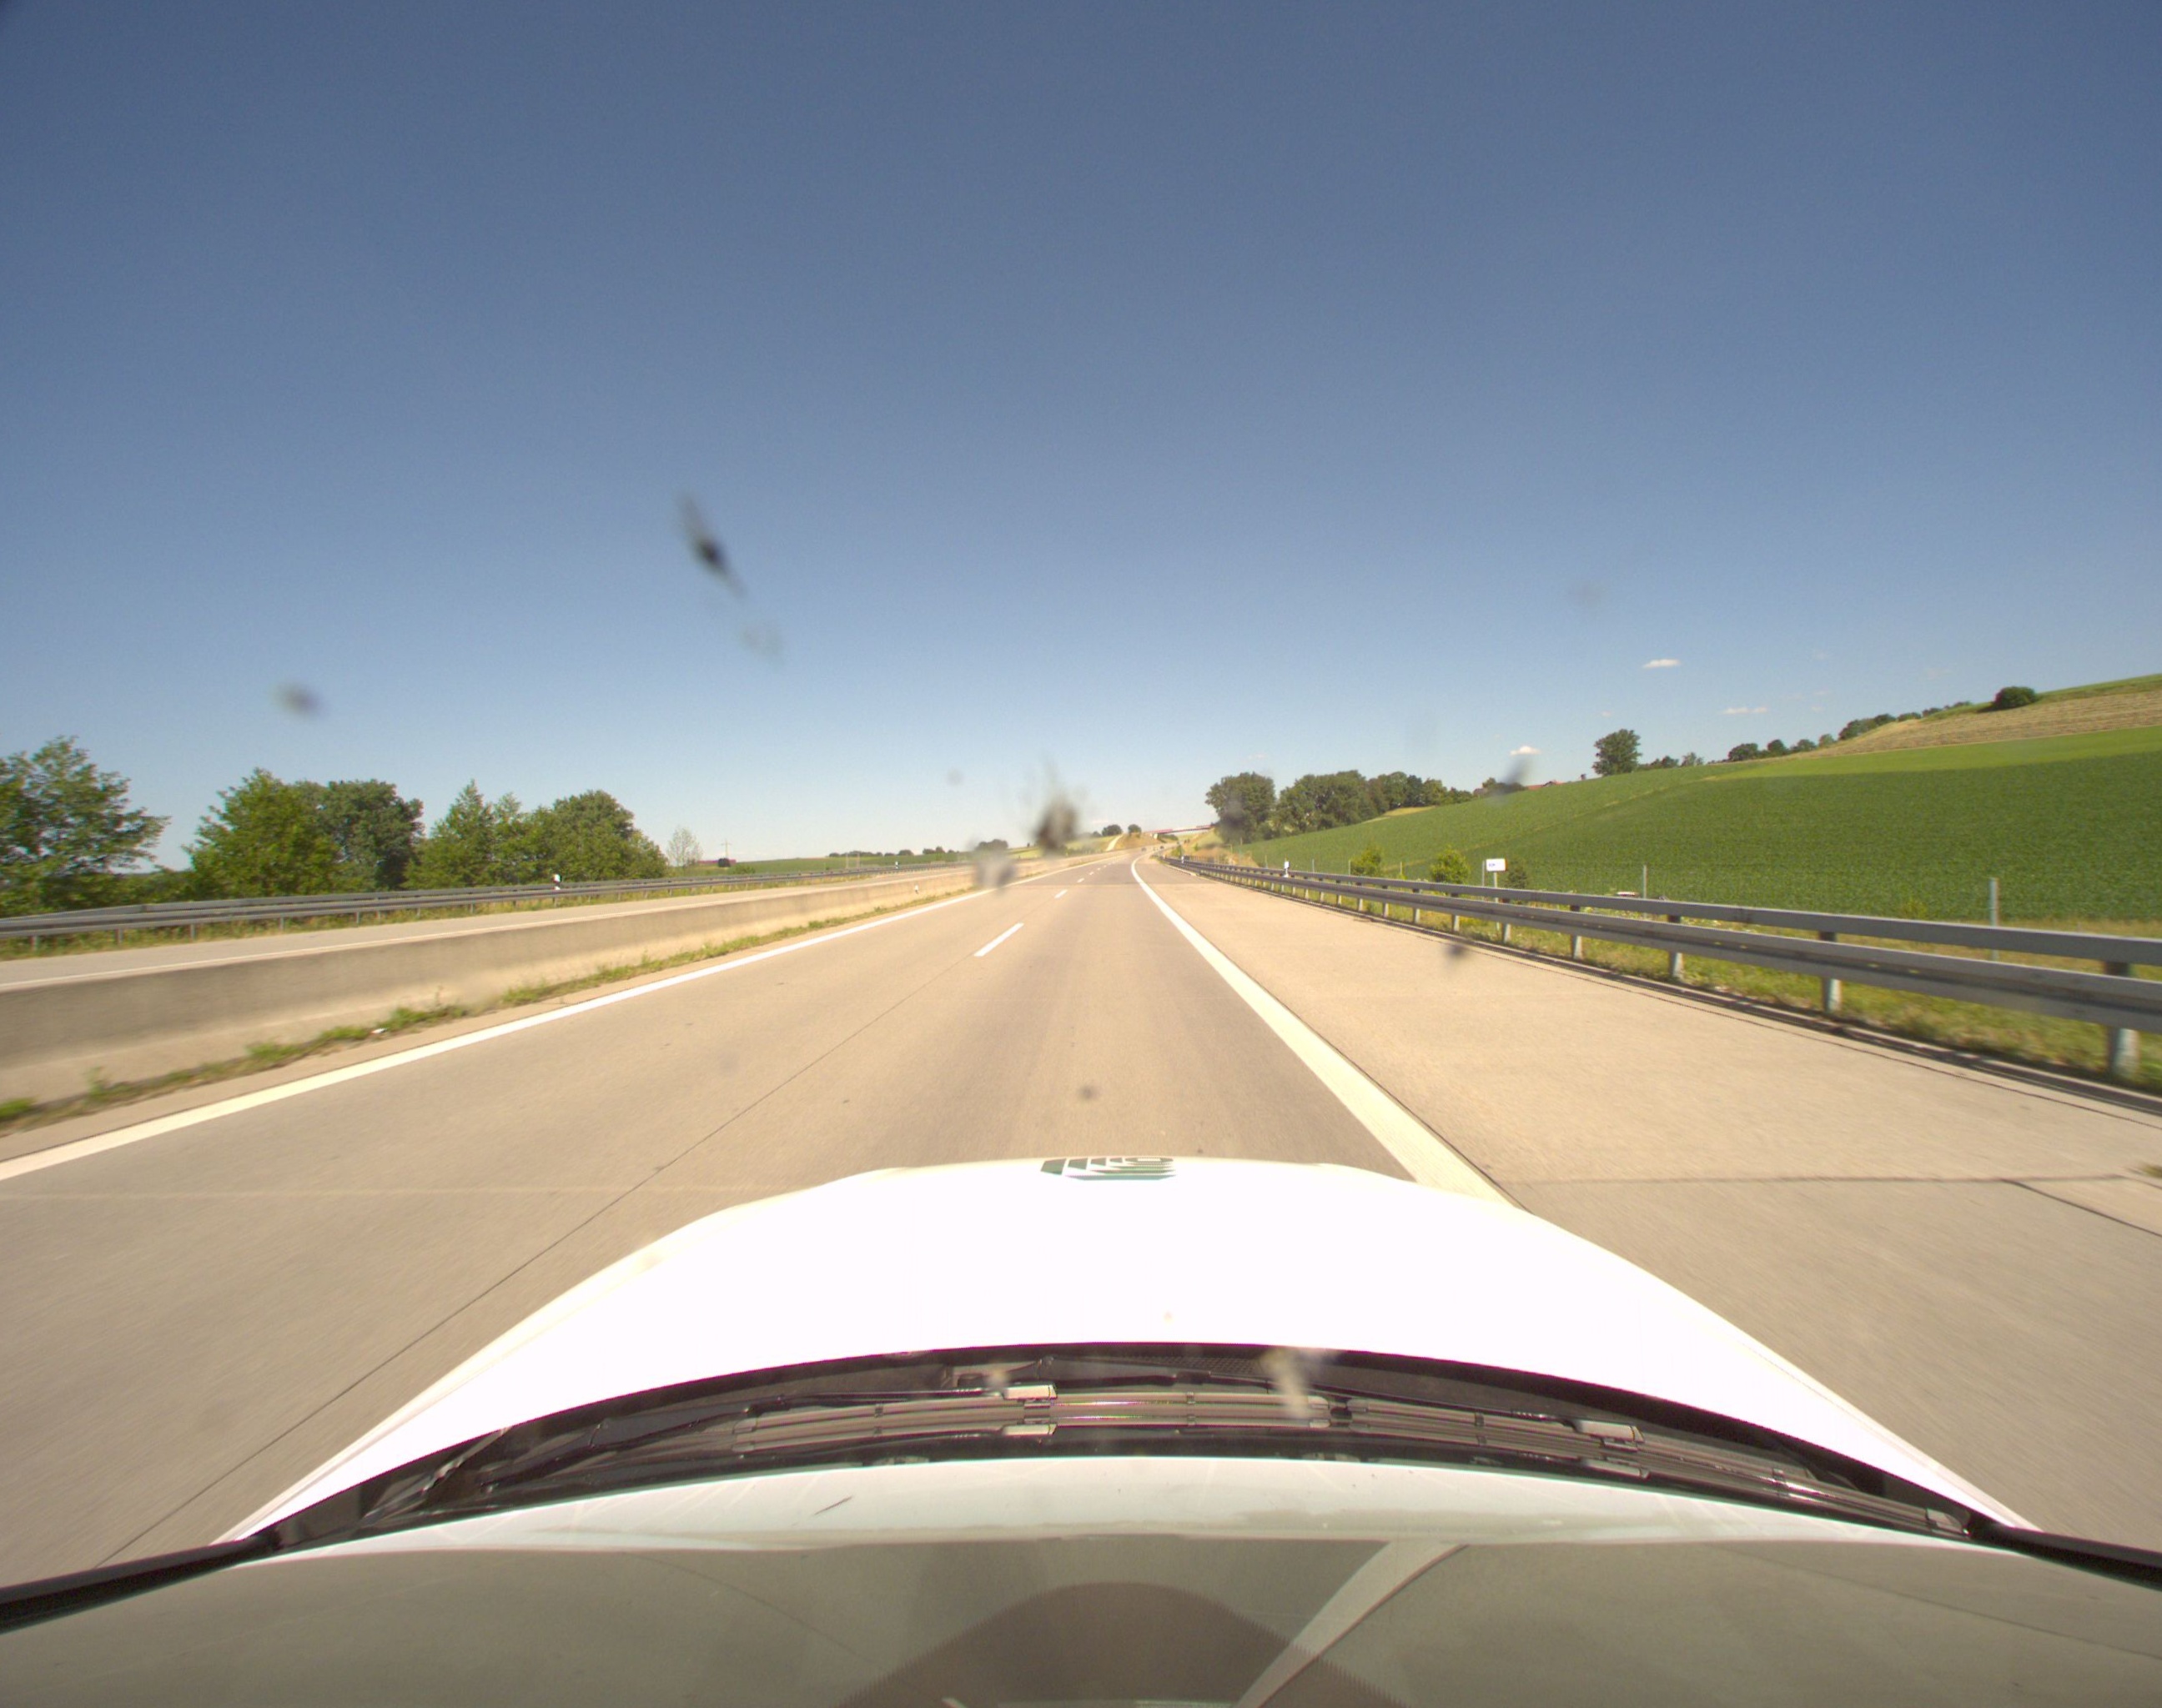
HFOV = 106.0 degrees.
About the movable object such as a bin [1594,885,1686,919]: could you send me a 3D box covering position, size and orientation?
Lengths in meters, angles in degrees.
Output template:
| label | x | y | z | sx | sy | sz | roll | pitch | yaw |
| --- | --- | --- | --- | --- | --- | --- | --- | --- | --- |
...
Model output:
| label | x | y | z | sx | sy | sz | roll | pitch | yaw |
| --- | --- | --- | --- | --- | --- | --- | --- | --- | --- |
| movable object such as a bin | 48.369 | 4.106 | 70.573 | 6.153 | 2.771 | 3.306 | -2 | -2 | 42 |
